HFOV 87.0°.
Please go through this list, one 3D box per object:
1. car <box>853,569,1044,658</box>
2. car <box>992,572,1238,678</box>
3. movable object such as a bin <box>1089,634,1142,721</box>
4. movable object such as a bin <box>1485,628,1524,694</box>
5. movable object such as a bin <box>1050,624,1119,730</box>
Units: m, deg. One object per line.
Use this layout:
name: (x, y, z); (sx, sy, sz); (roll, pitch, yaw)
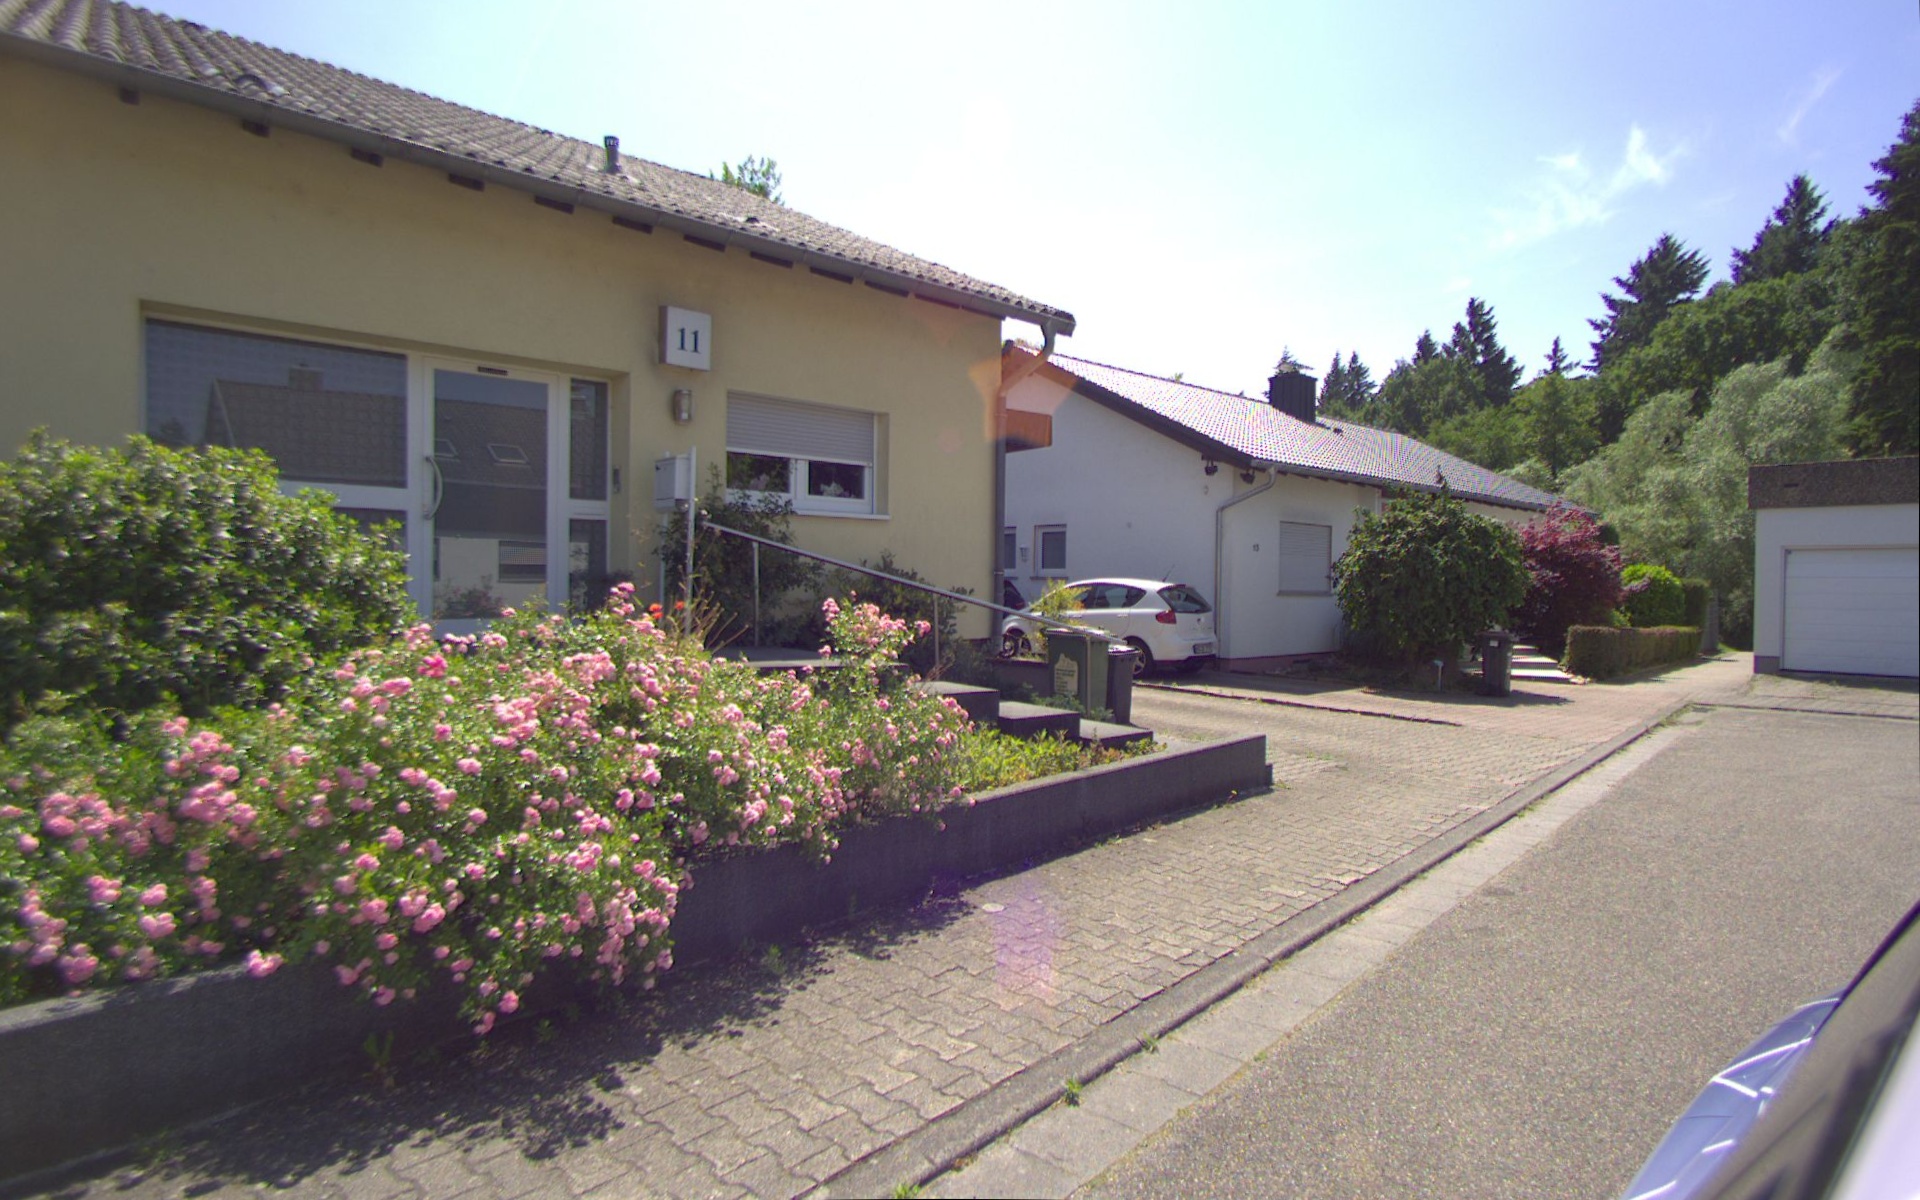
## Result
car: (-0.328, 0.185, 21.064); (1.895, 1.627, 3.995); (-1, 2, -40)
car: (2.572, 0.340, 17.456); (1.723, 1.588, 3.991); (0, 1, -44)
movable object such as a bin: (1.722, 0.847, 11.194); (0.425, 0.902, 0.401); (1, 1, 42)
movable object such as a bin: (7.816, 0.863, 14.535); (0.369, 0.902, 0.390); (-1, 1, -42)
movable object such as a bin: (1.340, 0.804, 10.854); (0.490, 1.054, 0.584); (1, 1, 42)
